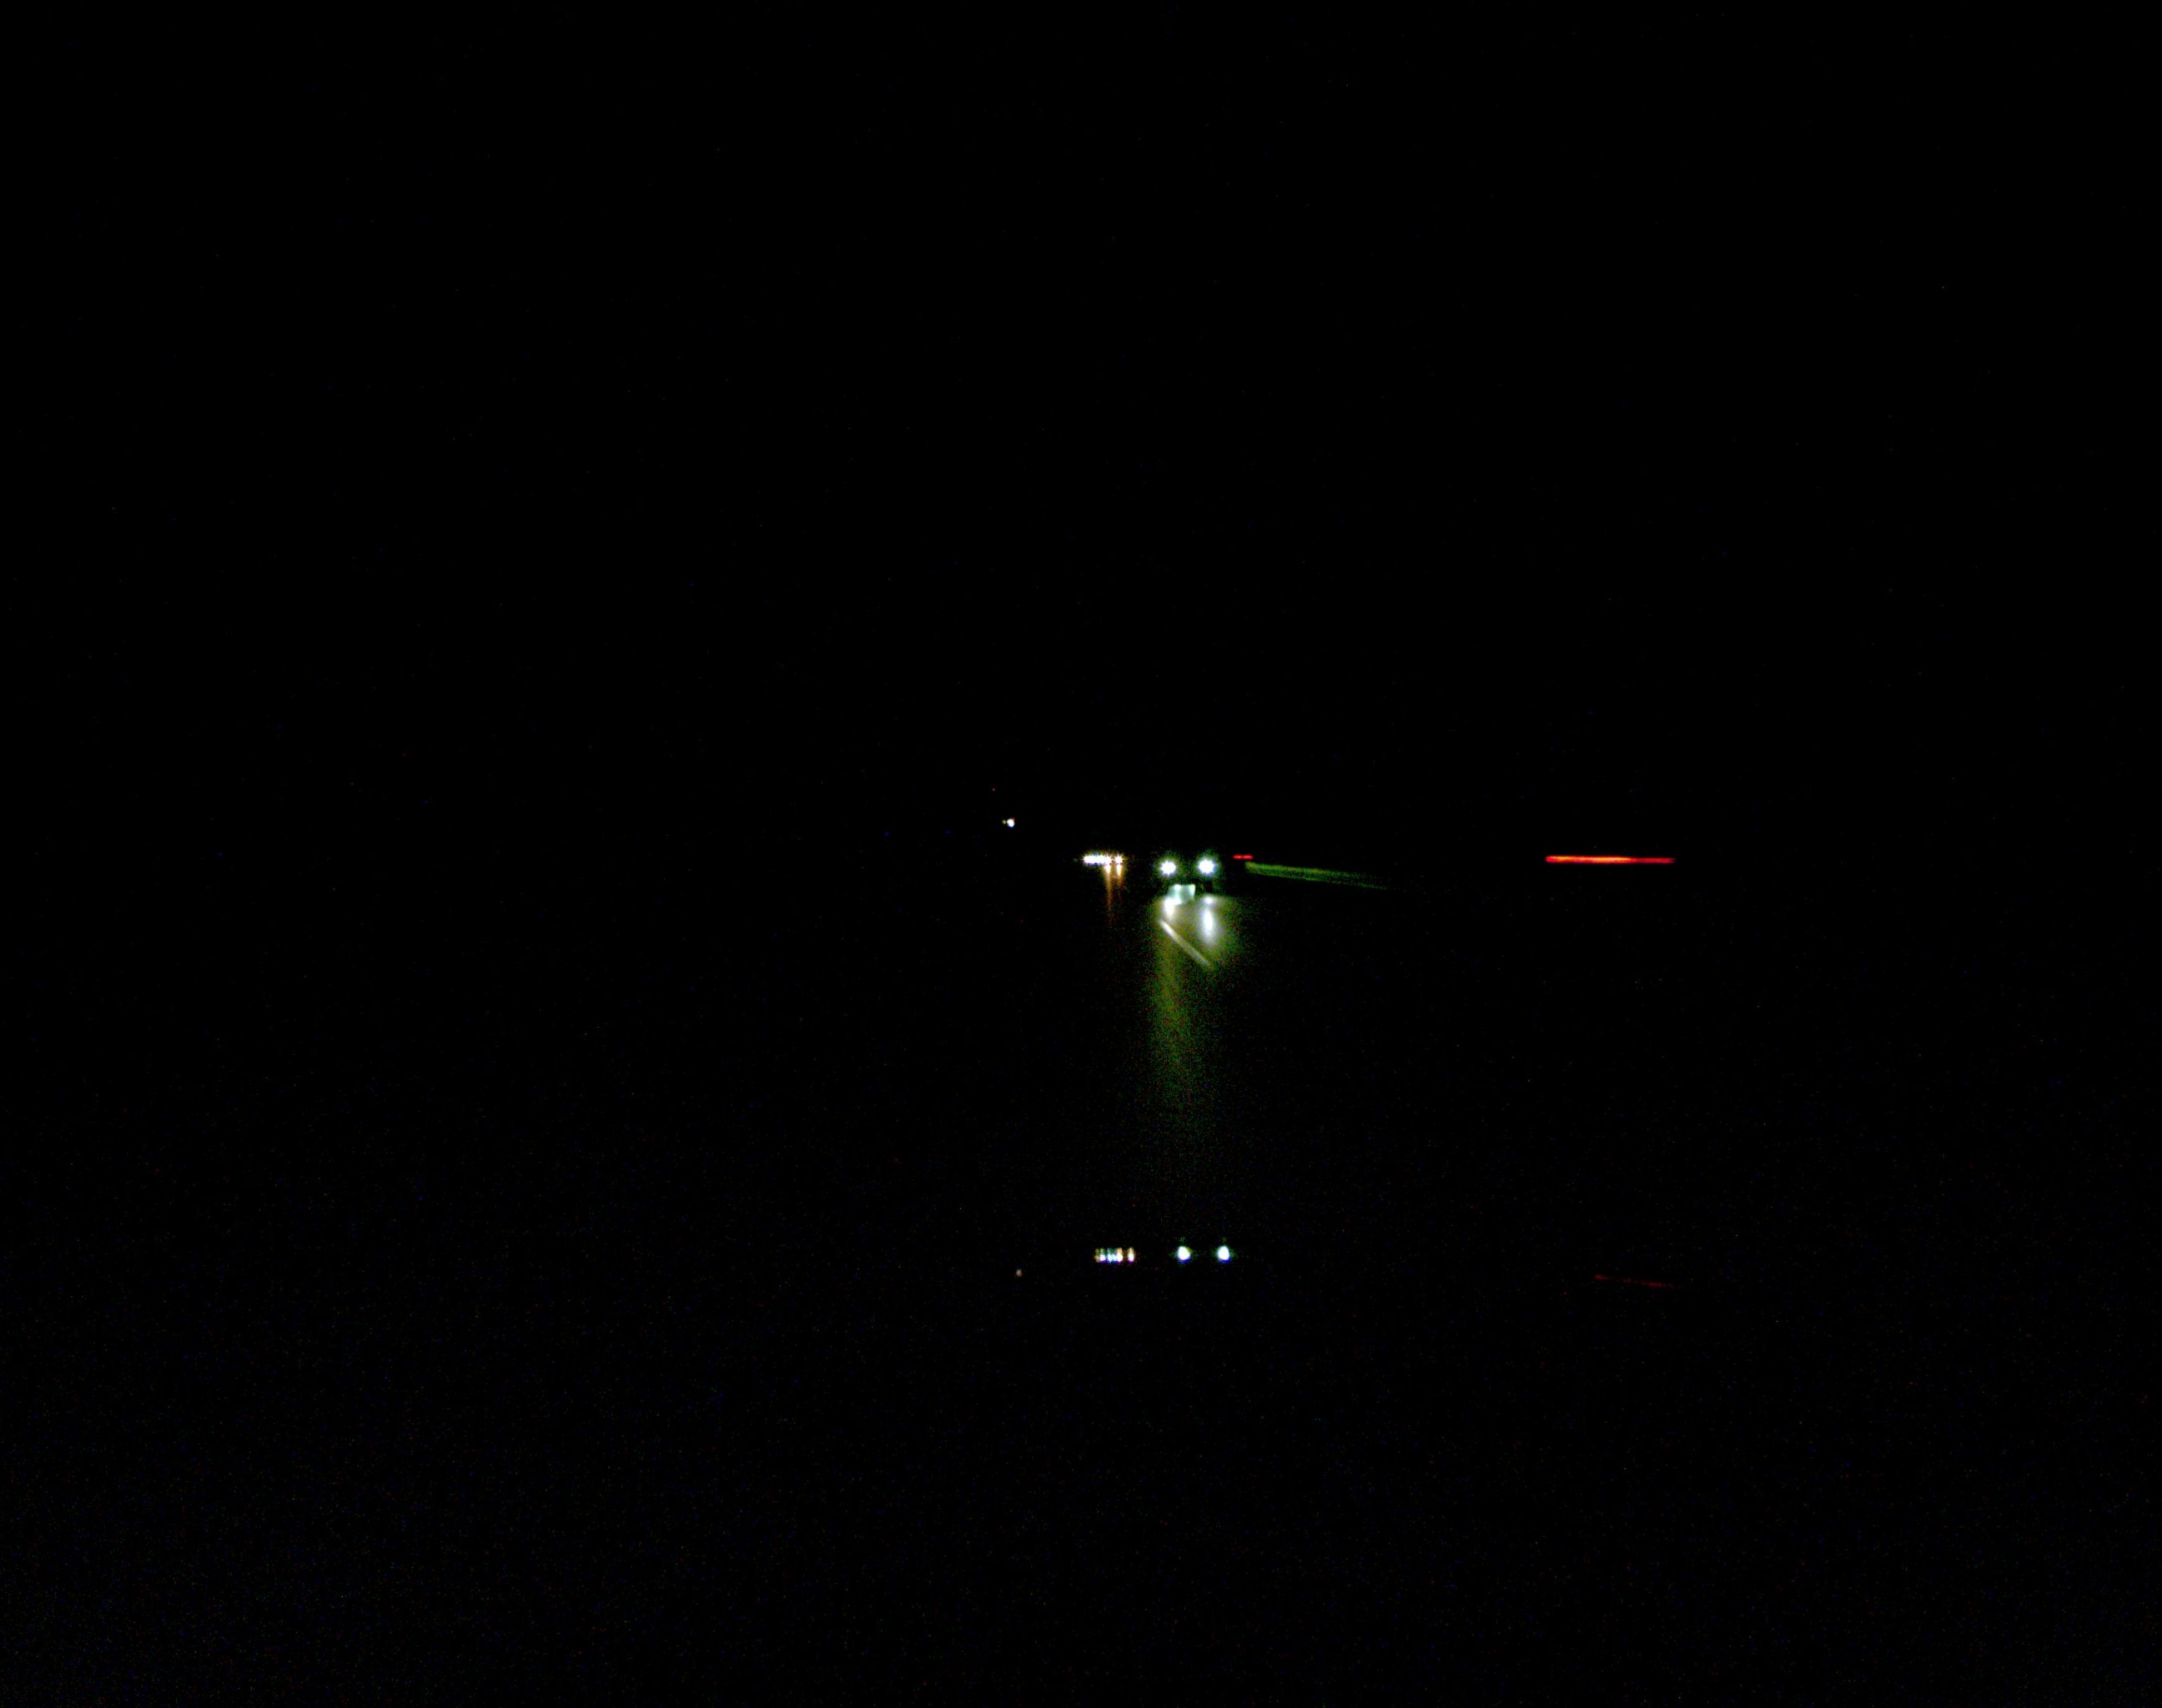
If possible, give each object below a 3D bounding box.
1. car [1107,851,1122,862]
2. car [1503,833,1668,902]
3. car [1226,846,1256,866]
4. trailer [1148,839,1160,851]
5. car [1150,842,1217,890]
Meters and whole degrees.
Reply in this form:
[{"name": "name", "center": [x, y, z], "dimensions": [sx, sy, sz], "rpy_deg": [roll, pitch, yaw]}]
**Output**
[{"name": "car", "center": [4.701, 0.285, 106.297], "dimensions": [1.998, 1.423, 4.329], "rpy_deg": [-2, 1, 2]}, {"name": "car", "center": [16.129, 0.380, 24.684], "dimensions": [2.202, 1.944, 4.763], "rpy_deg": [-2, 0, 1]}, {"name": "car", "center": [16.622, 0.225, 79.255], "dimensions": [2.202, 1.944, 4.763], "rpy_deg": [-2, 0, 1]}, {"name": "trailer", "center": [26.100, -3.164, 271.817], "dimensions": [3.063, 4.209, 13.040], "rpy_deg": [-2, 0, 2]}, {"name": "car", "center": [4.064, 0.439, 31.139], "dimensions": [1.998, 1.711, 5.942], "rpy_deg": [-2, 0, 1]}]
